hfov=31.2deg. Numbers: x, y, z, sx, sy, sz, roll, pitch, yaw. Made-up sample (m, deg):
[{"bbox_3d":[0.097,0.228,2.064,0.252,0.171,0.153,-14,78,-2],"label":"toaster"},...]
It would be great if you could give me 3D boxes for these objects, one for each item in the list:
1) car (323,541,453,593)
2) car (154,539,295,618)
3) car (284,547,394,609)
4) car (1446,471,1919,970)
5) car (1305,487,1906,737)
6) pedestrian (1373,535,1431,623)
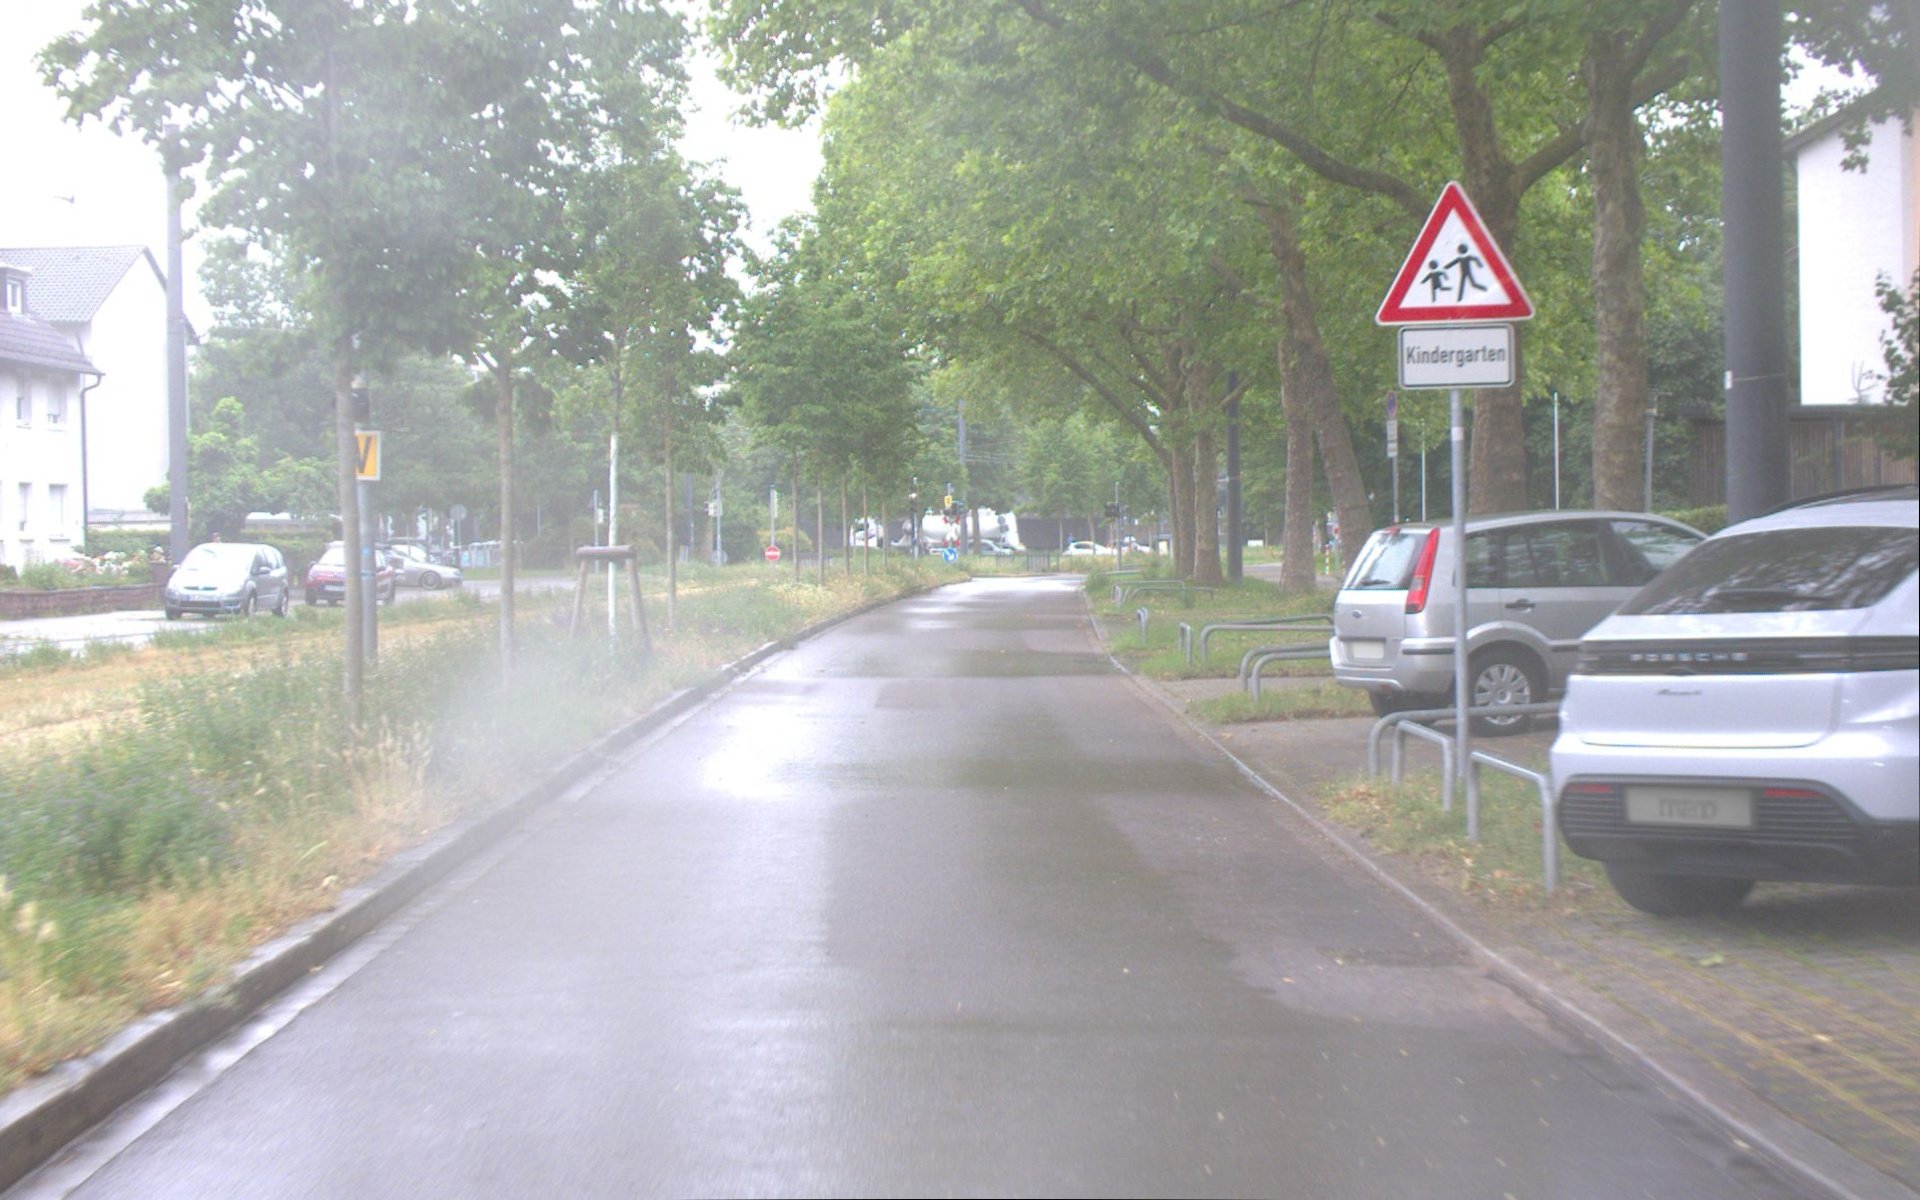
[{"bbox_3d":[-19.084,-1.117,114.871,3.987,1.611,2.000,-1,1,-1],"label":"car"},{"bbox_3d":[-15.804,-0.496,74.095,1.993,1.575,4.517,1,1,1],"label":"car"},{"bbox_3d":[-15.861,-0.578,88.037,1.993,1.483,4.205,1,1,1],"label":"car"},{"bbox_3d":[4.365,0.318,13.676,4.761,1.662,1.994,-2,2,-37],"label":"car"},{"bbox_3d":[4.599,0.055,24.621,3.854,1.561,1.620,-3,1,-14],"label":"car"},{"bbox_3d":[7.850,-0.381,61.105,0.833,1.533,0.860,-2,1,-4],"label":"pedestrian"}]
